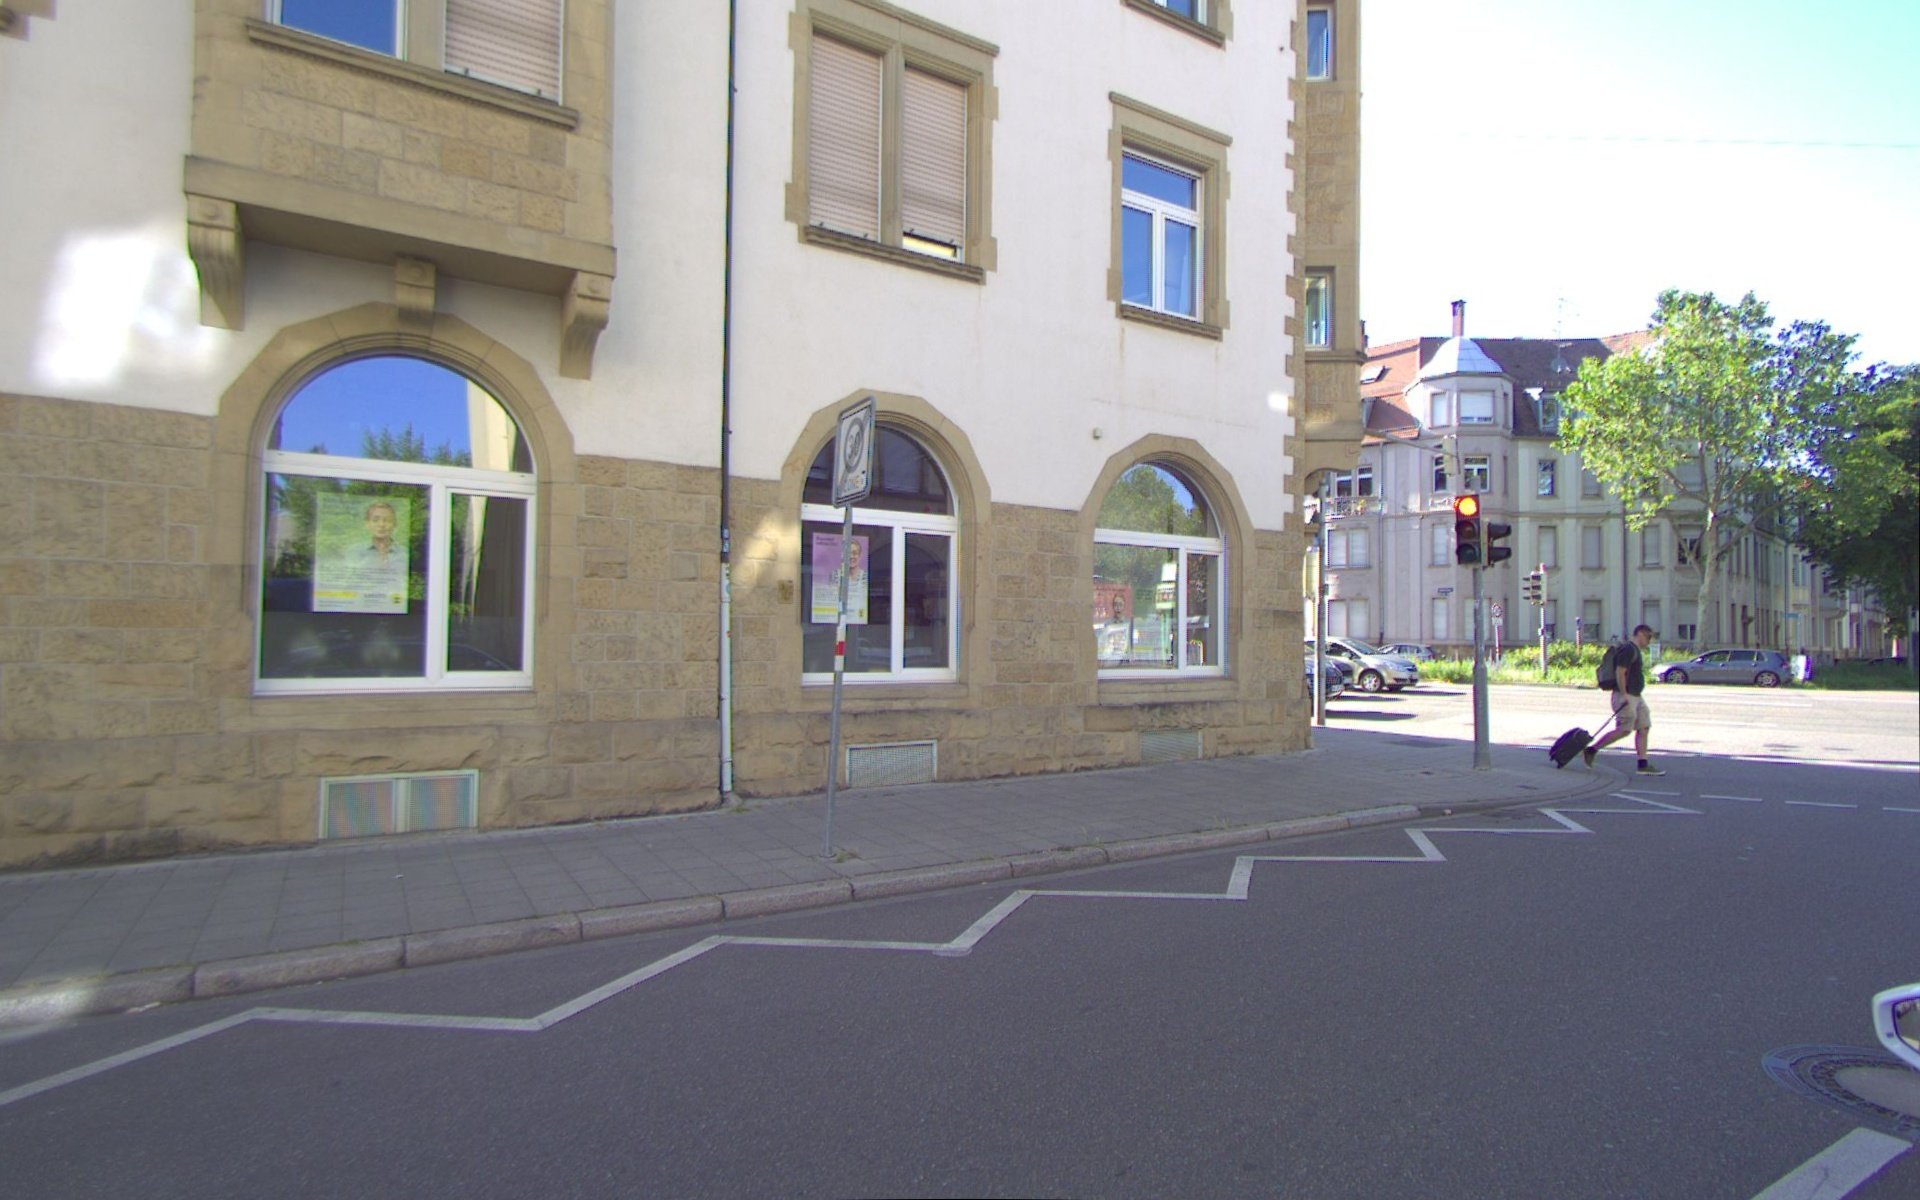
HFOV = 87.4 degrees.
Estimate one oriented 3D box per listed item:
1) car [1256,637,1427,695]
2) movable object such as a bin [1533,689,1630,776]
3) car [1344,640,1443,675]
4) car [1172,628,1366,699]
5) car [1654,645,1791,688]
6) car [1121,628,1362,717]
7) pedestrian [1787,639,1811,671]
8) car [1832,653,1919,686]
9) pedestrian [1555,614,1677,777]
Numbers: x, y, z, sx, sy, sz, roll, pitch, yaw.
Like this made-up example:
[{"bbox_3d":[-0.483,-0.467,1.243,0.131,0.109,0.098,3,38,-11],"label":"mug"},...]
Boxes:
[{"bbox_3d":[10.555,1.770,28.026,1.667,1.476,4.159,1,-2,-45],"label":"car"},{"bbox_3d":[7.515,1.577,12.156,0.506,0.904,0.854,2,1,-42],"label":"movable object such as a bin"},{"bbox_3d":[19.129,2.522,44.403,3.736,1.419,1.639,-1,-2,40],"label":"car"},{"bbox_3d":[8.009,1.601,26.341,1.719,1.686,4.614,2,-2,-45],"label":"car"},{"bbox_3d":[27.839,2.378,36.745,3.892,1.419,1.639,-1,-2,40],"label":"car"},{"bbox_3d":[6.031,1.479,21.868,4.642,1.716,2.068,-1,-2,43],"label":"car"},{"bbox_3d":[39.581,2.579,47.402,0.480,1.461,0.705,2,0,-3],"label":"pedestrian"},{"bbox_3d":[45.448,3.405,49.499,1.647,1.476,3.595,2,-2,-44],"label":"car"},{"bbox_3d":[8.045,1.126,12.332,0.743,1.873,1.056,2,0,-42],"label":"pedestrian"}]
